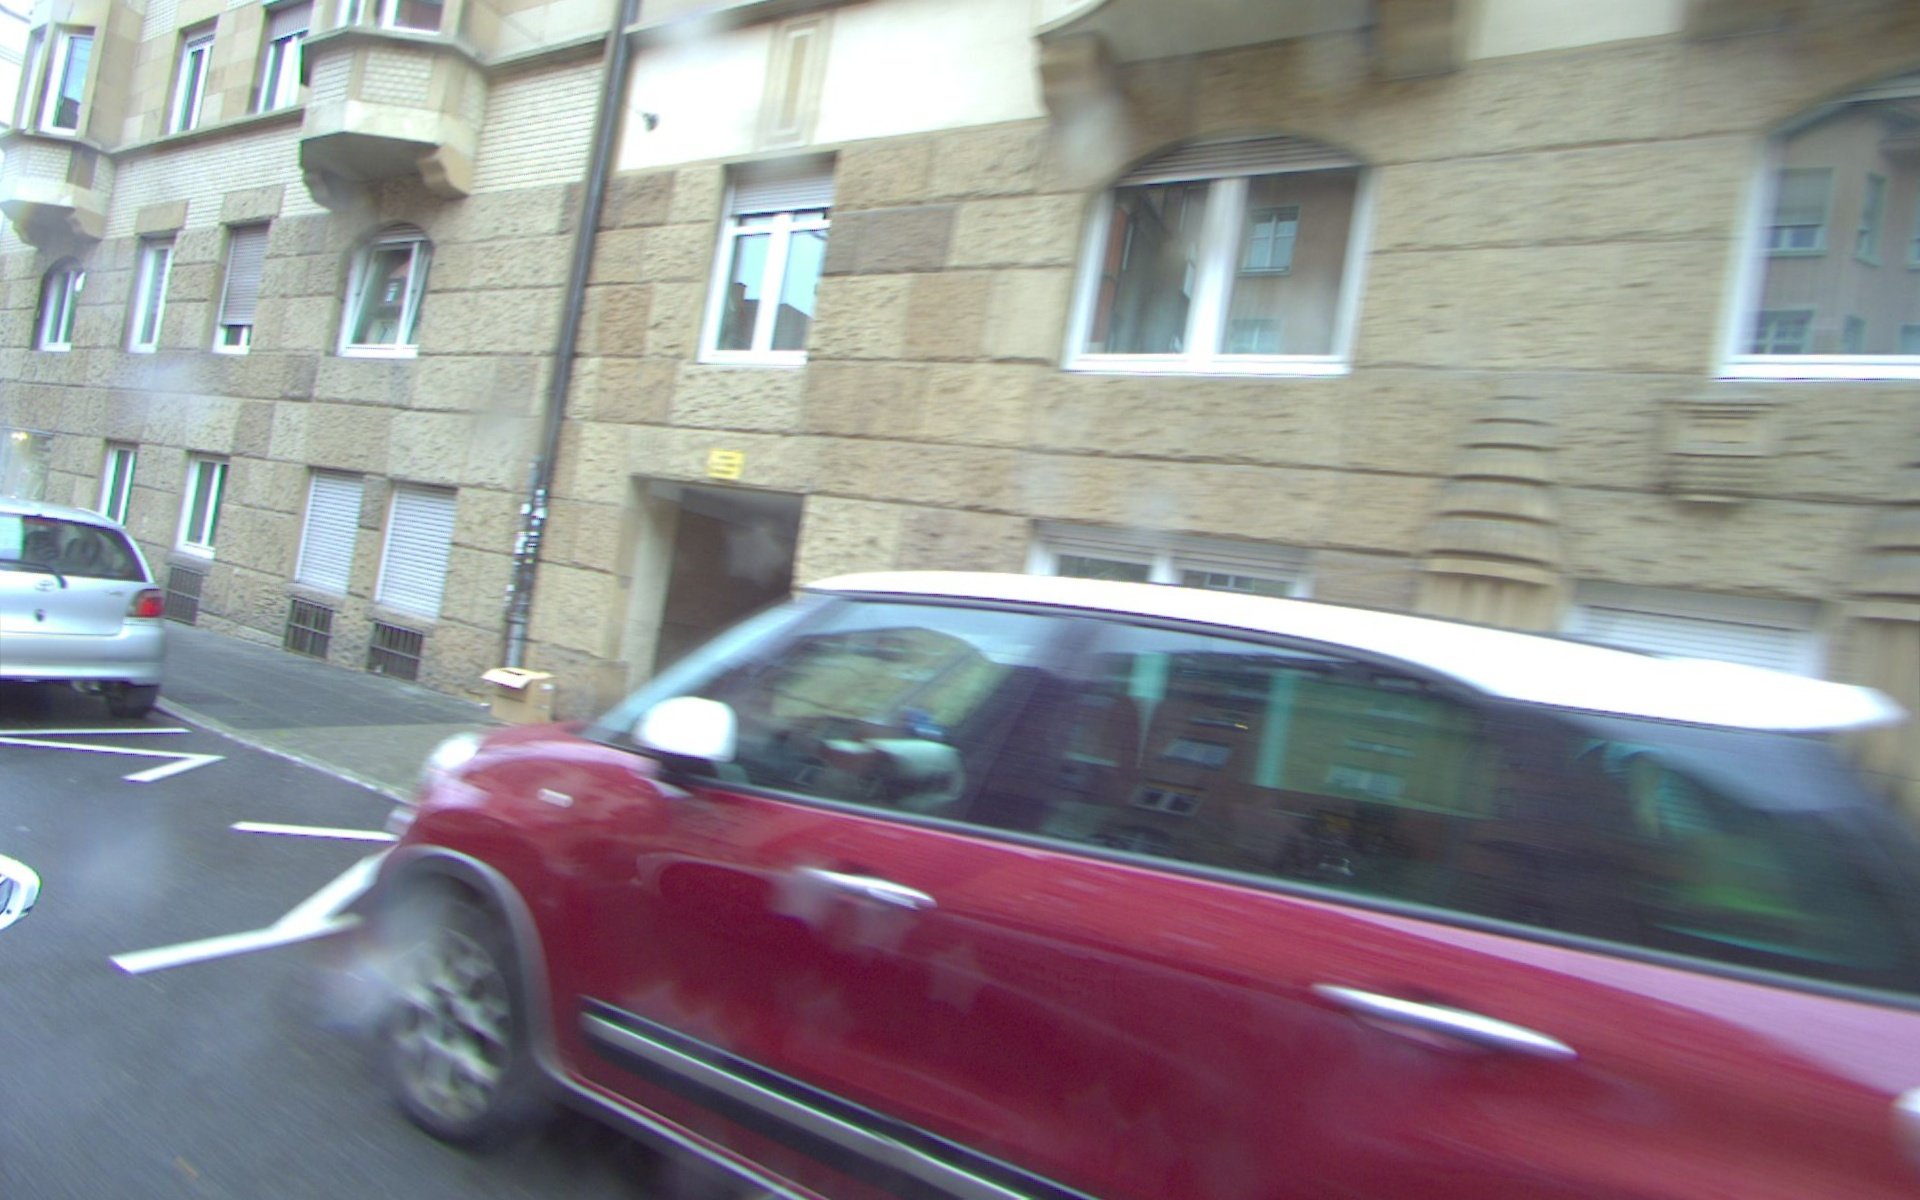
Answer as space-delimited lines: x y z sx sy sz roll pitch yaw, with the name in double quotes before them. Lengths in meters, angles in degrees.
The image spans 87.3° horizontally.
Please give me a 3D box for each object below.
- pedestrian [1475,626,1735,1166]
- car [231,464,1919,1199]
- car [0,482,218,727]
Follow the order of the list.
"pedestrian" 2.470 1.045 3.906 0.599 1.752 0.864 7 -2 32
"car" 0.096 0.723 2.743 3.931 1.646 1.716 7 -3 29
"car" -7.451 -0.108 7.629 3.408 1.560 1.642 7 -2 32
